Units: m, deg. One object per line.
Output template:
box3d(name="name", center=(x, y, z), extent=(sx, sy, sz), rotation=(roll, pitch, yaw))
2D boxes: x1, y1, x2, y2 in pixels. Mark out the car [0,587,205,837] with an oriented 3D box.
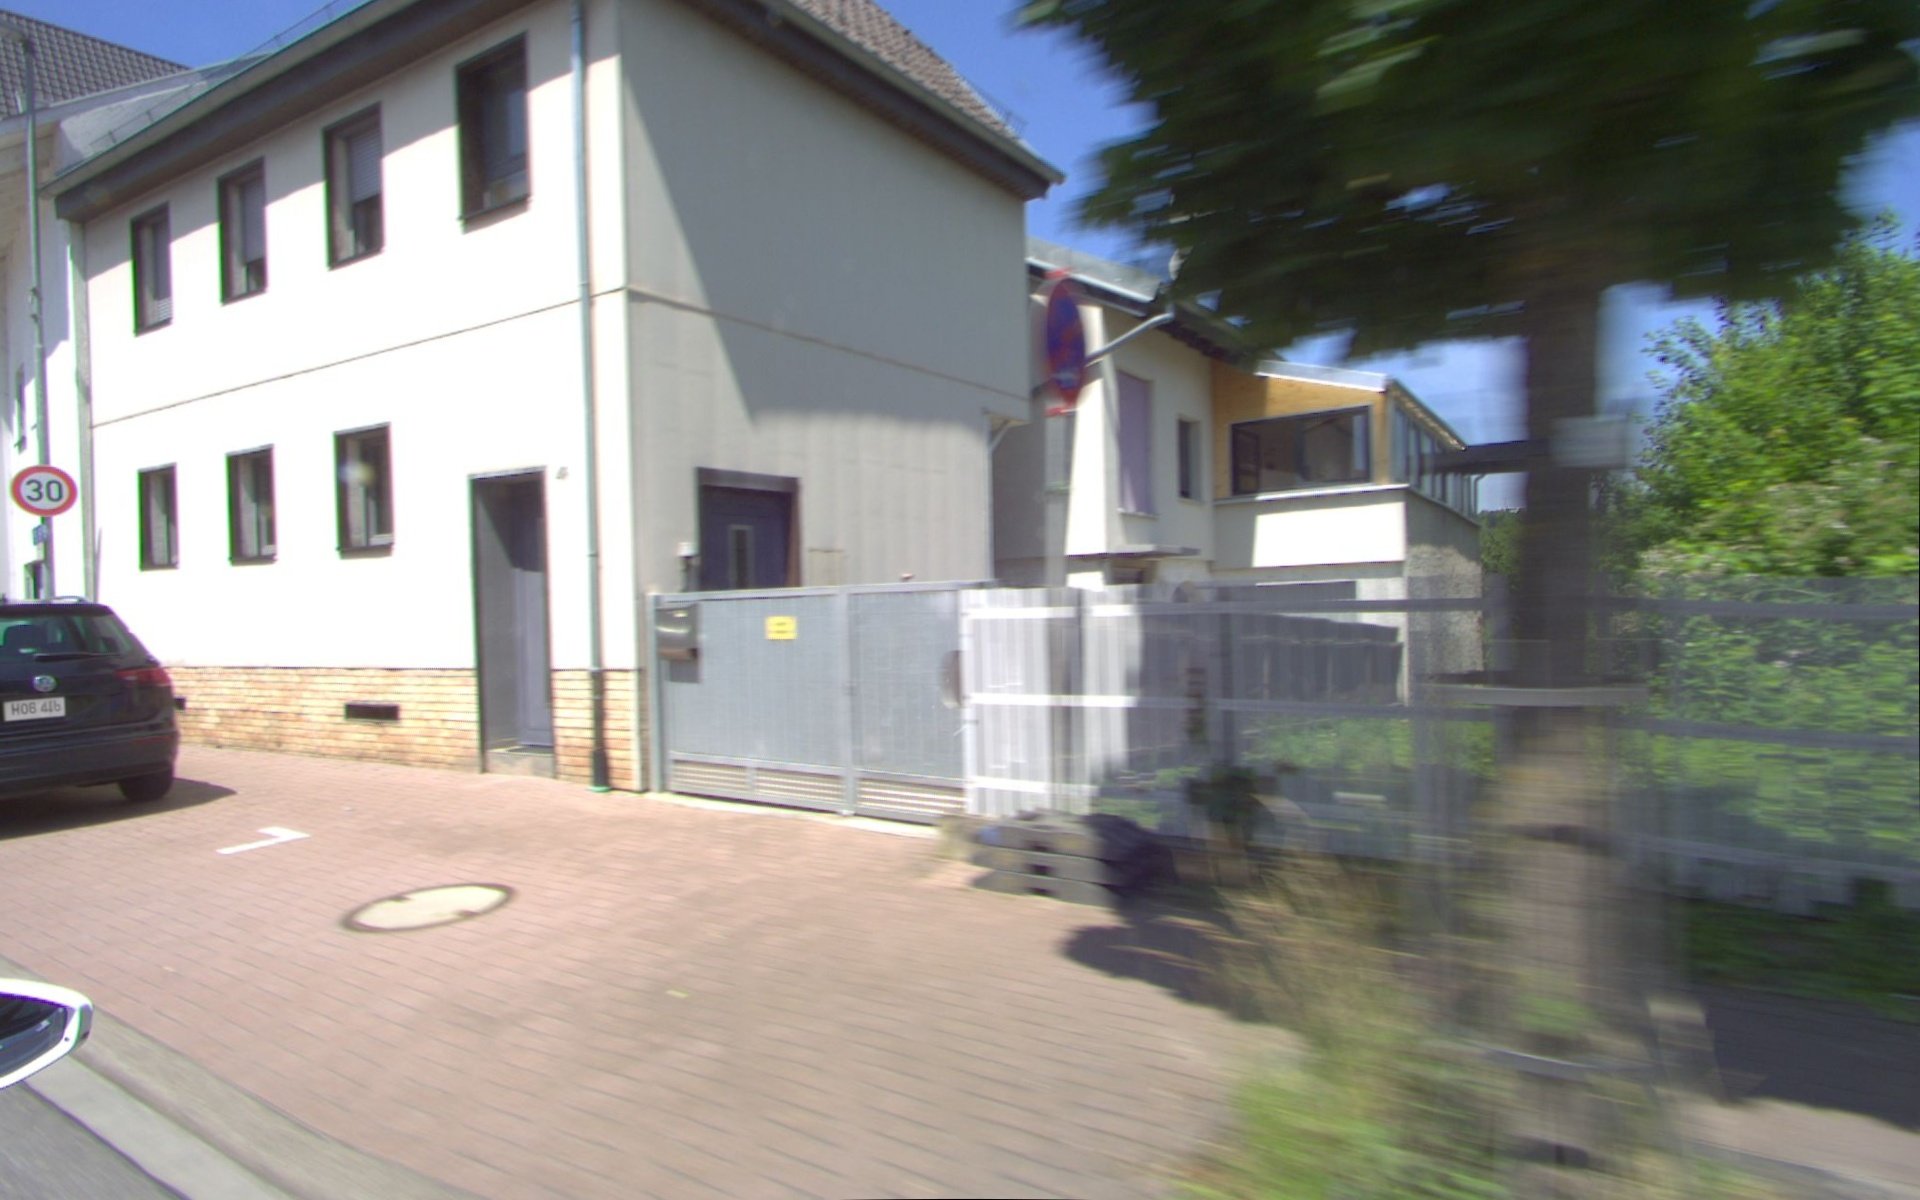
box3d(name="car", center=(-8.134, 0.782, 8.073), extent=(4.484, 1.636, 1.797), rotation=(-1, 2, 33))
